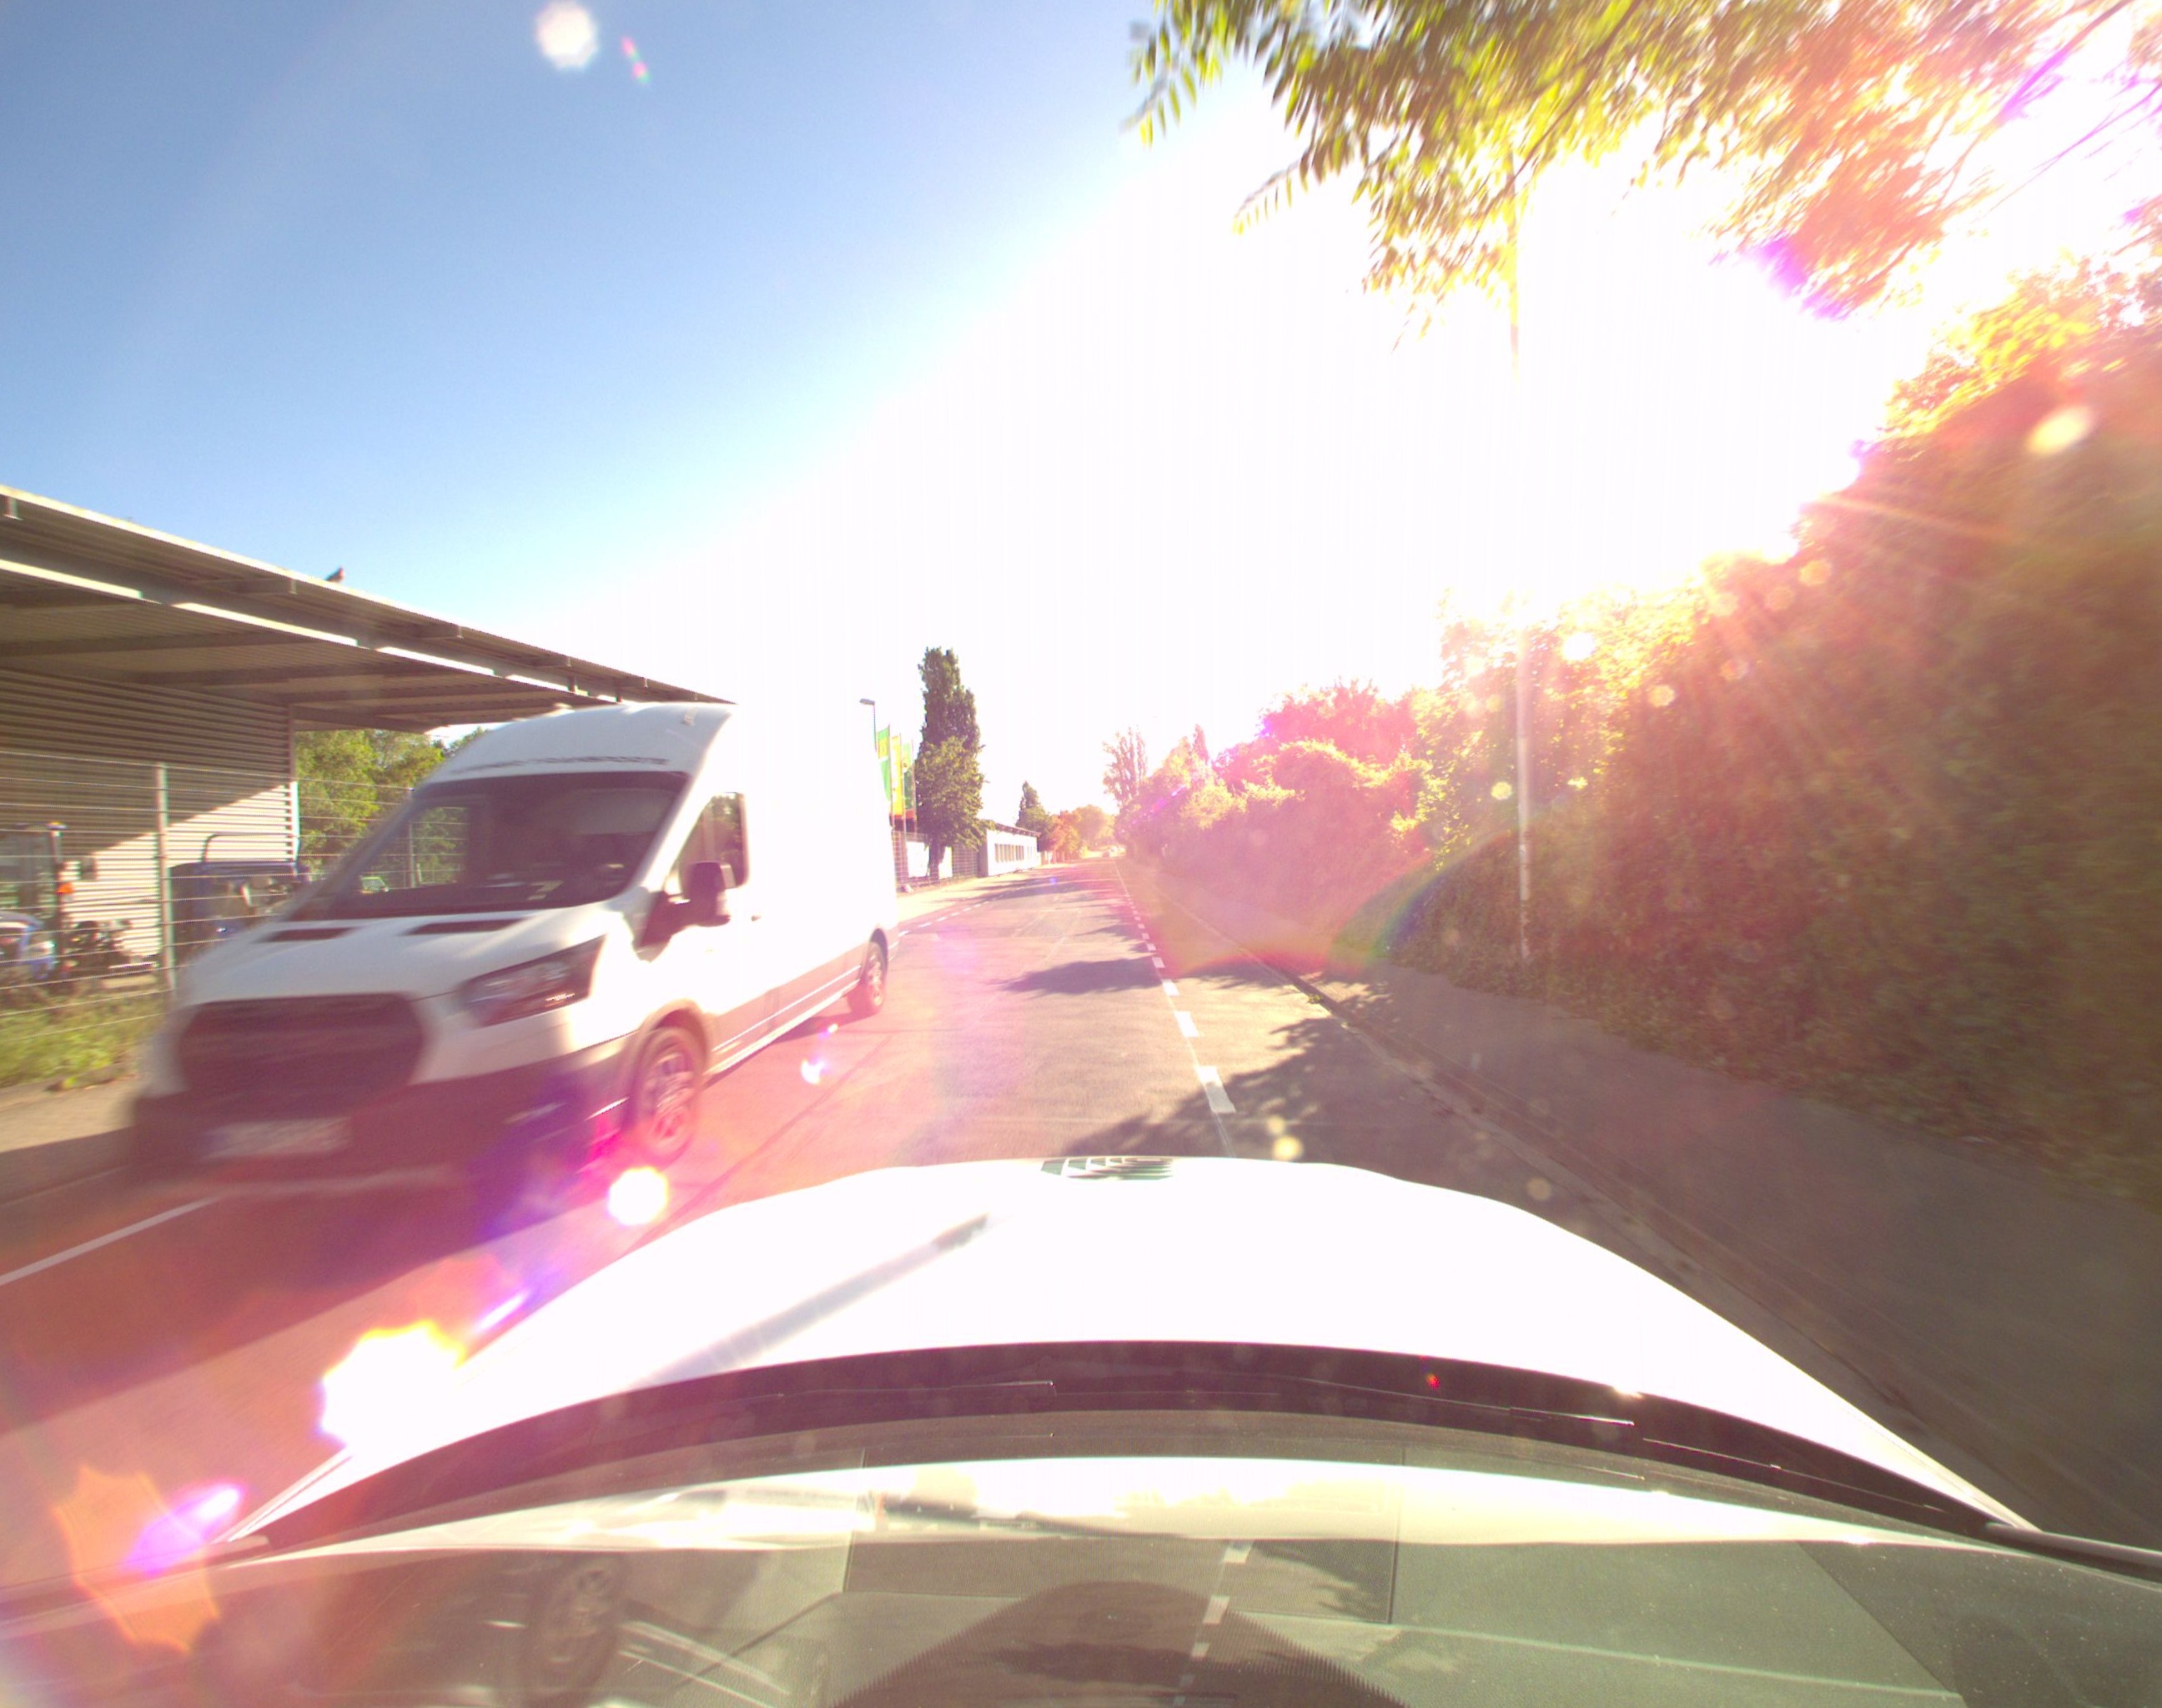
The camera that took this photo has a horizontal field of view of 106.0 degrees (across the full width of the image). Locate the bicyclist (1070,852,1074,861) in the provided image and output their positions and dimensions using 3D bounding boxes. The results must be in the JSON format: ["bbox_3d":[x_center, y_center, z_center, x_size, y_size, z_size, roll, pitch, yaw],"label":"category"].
[{"bbox_3d":[-1.507,0.423,134.882,0.687,1.532,0.723,-1,0,2],"label":"bicyclist"}]

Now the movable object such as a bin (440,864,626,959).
[{"bbox_3d":[-11.029,1.114,16.519,2.629,1.680,1.525,-3,0,0],"label":"movable object such as a bin"}]

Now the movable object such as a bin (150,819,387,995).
[{"bbox_3d":[-11.021,0.668,11.048,2.765,2.126,1.393,-2,0,27],"label":"movable object such as a bin"}]

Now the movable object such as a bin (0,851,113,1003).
[{"bbox_3d":[-15.767,1.046,11.307,1.571,2.092,2.478,-3,1,0],"label":"movable object such as a bin"}]

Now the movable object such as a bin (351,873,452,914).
[{"bbox_3d":[-38.974,2.252,46.817,3.975,2.013,1.999,-3,0,-1],"label":"movable object such as a bin"}]

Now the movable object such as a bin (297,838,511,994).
[{"bbox_3d":[-10.527,0.897,12.661,2.853,2.149,1.509,-2,0,28],"label":"movable object such as a bin"}]

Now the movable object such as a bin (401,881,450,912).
[{"bbox_3d":[-39.840,2.570,49.506,1.787,1.670,1.360,-3,0,-1],"label":"movable object such as a bin"}]

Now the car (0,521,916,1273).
[{"bbox_3d":[-3.082,0.180,6.163,2.115,2.780,5.928,-5,0,1],"label":"car"}]

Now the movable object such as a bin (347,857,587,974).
[{"bbox_3d":[-10.924,1.051,14.634,3.029,1.835,1.525,-3,0,0],"label":"movable object such as a bin"}]

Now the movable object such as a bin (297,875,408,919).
[{"bbox_3d":[-38.937,2.288,43.586,3.975,2.013,1.999,-3,0,-1],"label":"movable object such as a bin"}]

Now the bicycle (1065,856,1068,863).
[{"bbox_3d":[-2.409,0.905,135.086,0.560,1.034,1.351,-1,0,2],"label":"bicycle"}]

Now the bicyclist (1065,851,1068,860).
[{"bbox_3d":[-2.417,0.297,135.009,0.558,1.534,0.689,-1,0,2],"label":"bicyclist"}]

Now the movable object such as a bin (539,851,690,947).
[{"bbox_3d":[-10.655,0.947,18.868,1.653,1.934,3.096,-3,1,-1],"label":"movable object such as a bin"}]

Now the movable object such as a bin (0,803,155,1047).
[{"bbox_3d":[-10.730,0.672,8.057,2.737,2.165,1.533,-2,1,31],"label":"movable object such as a bin"}]

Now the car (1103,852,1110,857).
[{"bbox_3d":[7.503,0.120,241.980,1.935,1.651,4.311,-1,0,2],"label":"car"}]

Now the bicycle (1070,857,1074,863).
[{"bbox_3d":[-1.496,1.004,134.911,0.686,1.034,1.351,-1,0,2],"label":"bicycle"}]
